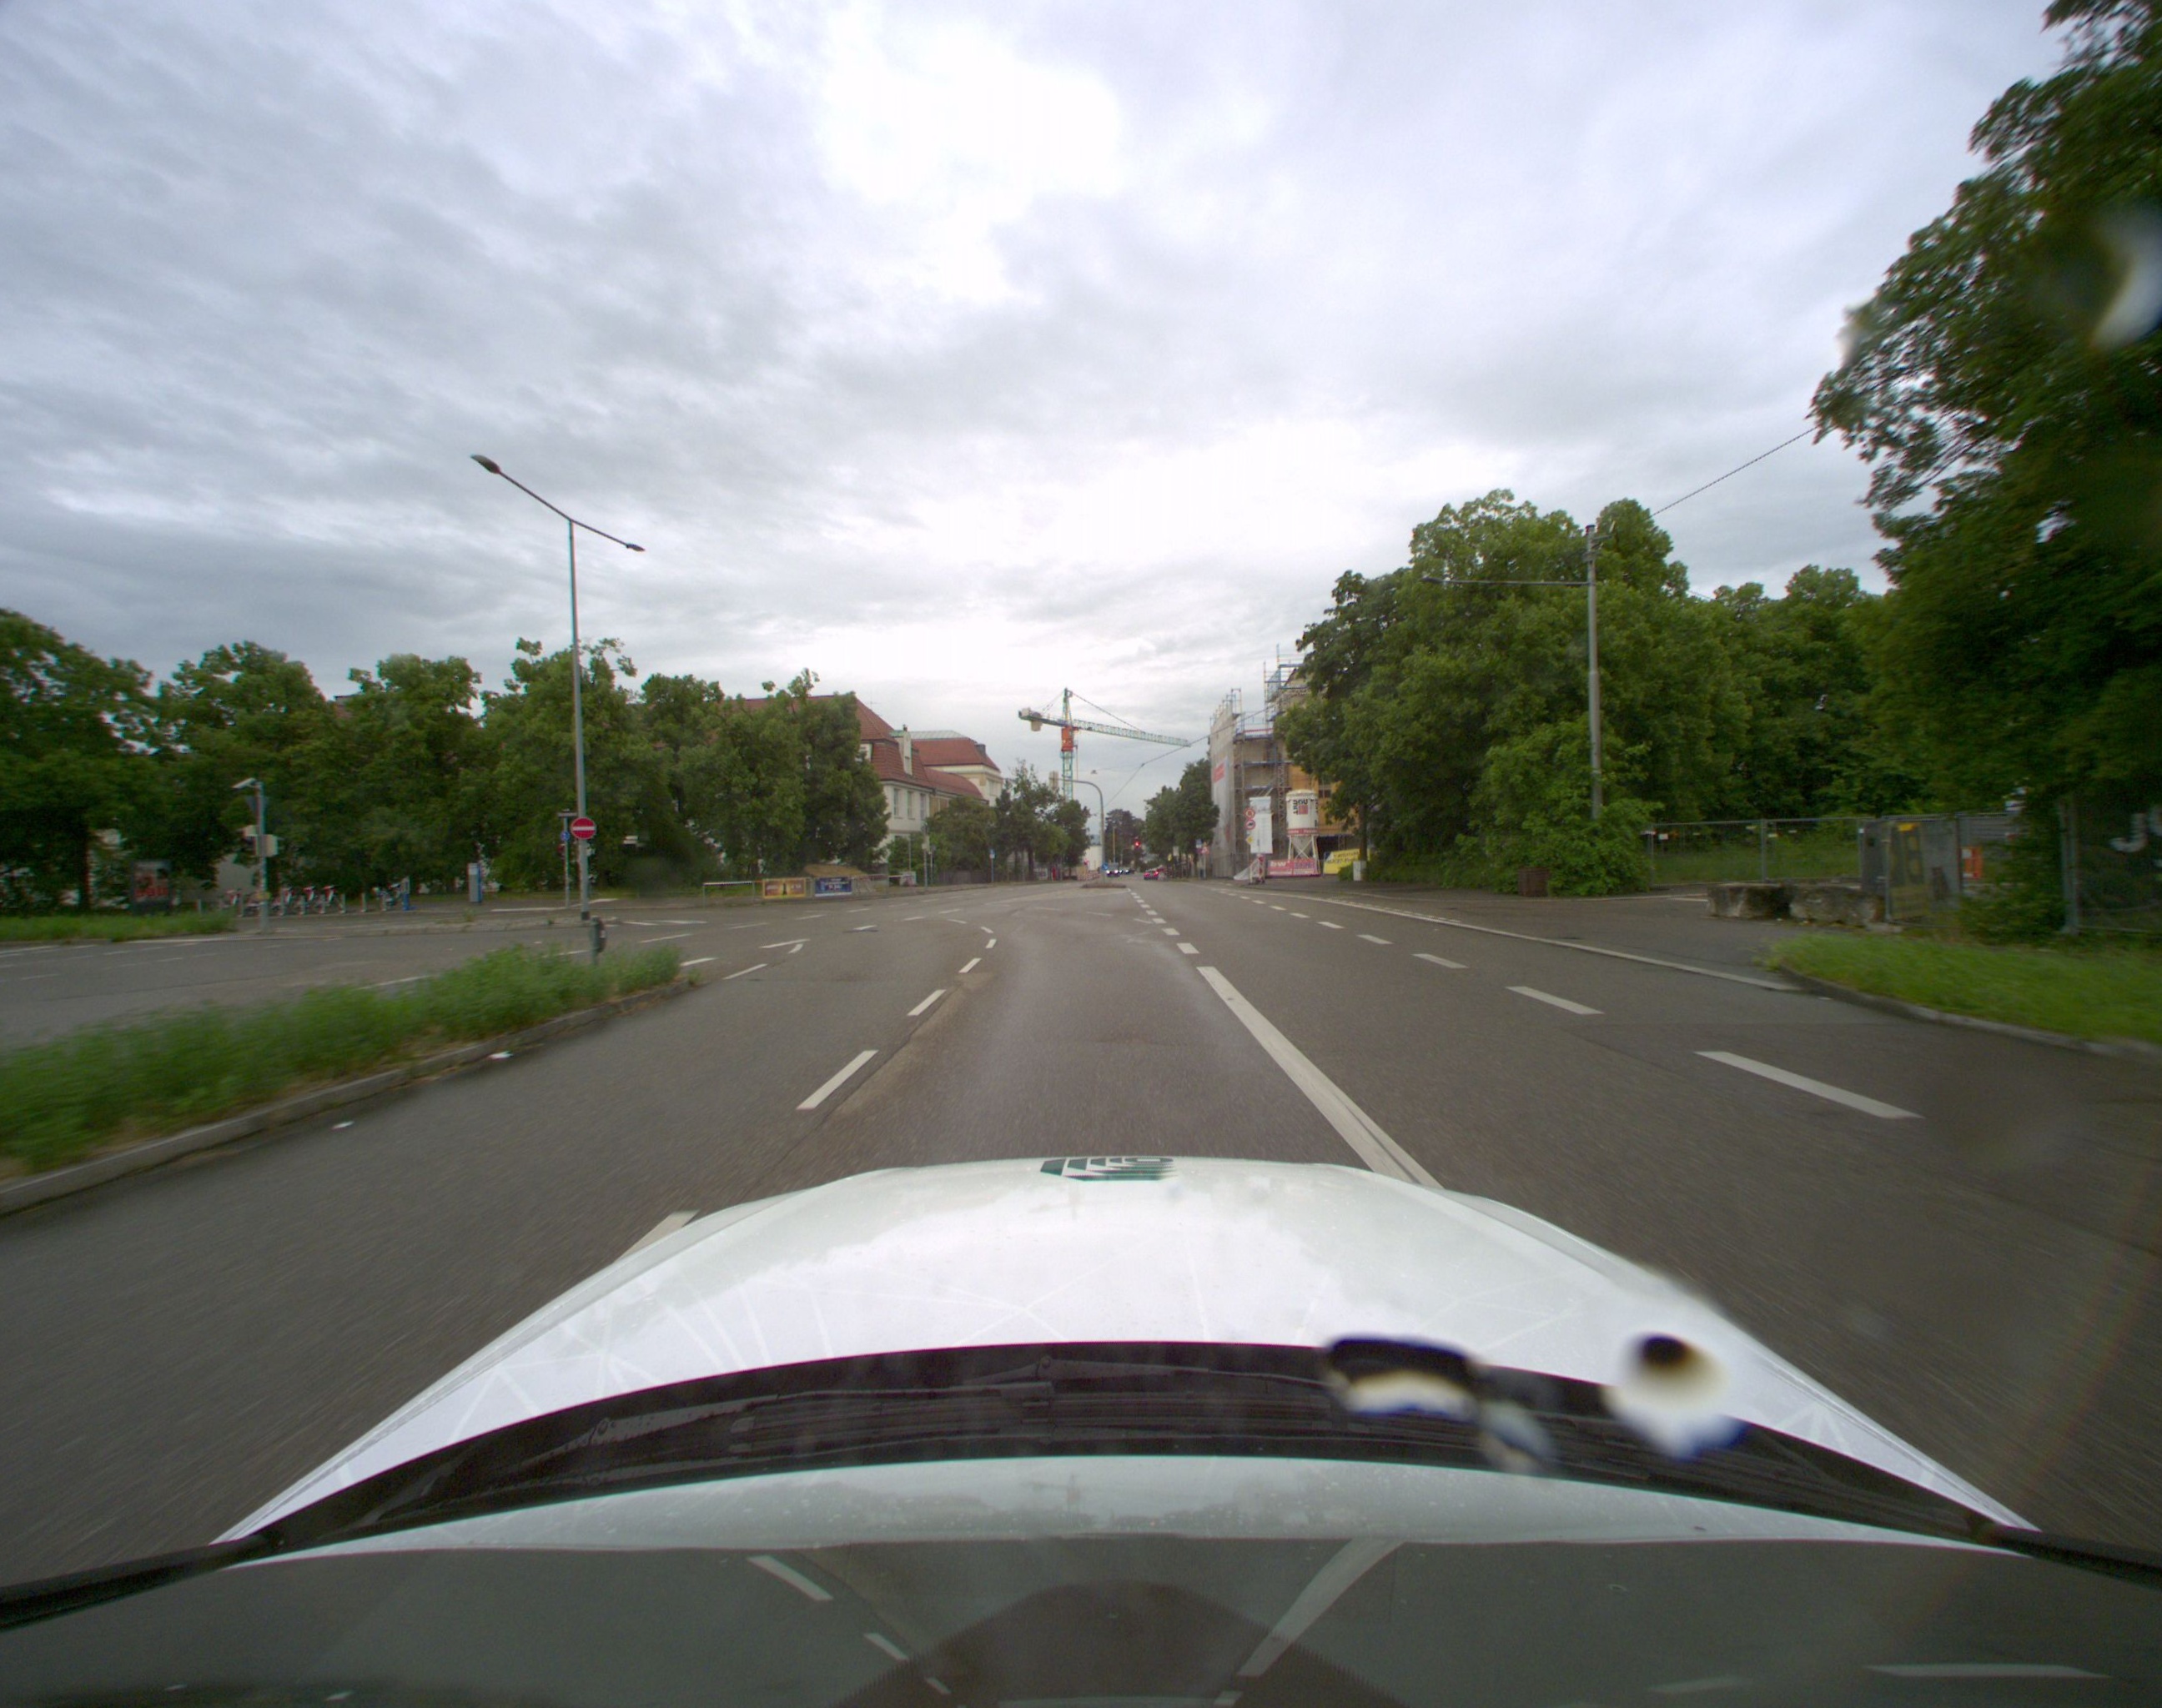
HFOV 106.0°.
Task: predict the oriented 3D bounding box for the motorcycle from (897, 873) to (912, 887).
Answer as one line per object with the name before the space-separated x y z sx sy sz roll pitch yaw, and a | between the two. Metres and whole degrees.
motorcycle | -12.108 1.786 55.825 0.846 0.877 0.877 -1 0 1

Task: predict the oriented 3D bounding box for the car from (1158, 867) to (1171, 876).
car | 16.529 3.470 161.337 1.979 1.750 4.016 -2 0 15

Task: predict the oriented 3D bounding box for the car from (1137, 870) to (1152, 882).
car | 9.574 3.310 123.819 1.986 1.750 4.001 -2 0 1

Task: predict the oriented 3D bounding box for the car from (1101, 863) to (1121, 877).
car | 5.655 2.936 150.772 2.830 2.403 6.206 -1 0 11

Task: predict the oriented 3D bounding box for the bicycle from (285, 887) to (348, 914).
bicycle | -32.679 1.981 34.866 0.798 1.071 1.982 -1 0 2

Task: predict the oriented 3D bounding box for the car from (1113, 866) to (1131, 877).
car | 8.255 3.500 163.504 1.975 1.882 4.024 -2 0 26

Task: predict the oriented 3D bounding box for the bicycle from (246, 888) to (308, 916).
bicycle | -34.318 2.031 34.804 0.649 1.071 1.982 -1 0 2

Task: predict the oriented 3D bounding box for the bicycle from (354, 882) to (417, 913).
bicycle | -29.846 1.843 34.983 0.987 1.249 1.982 -1 0 1

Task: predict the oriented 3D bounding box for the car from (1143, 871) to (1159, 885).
car | 9.939 3.424 115.604 1.986 1.750 4.001 -2 0 1

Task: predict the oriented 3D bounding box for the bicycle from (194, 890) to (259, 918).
bicycle | -36.374 2.098 34.713 0.649 1.071 1.982 -1 0 2

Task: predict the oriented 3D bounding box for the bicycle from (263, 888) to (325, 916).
bicycle | -33.428 2.035 34.632 0.649 1.071 1.982 -1 0 2

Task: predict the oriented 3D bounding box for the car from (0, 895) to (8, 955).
car | -30.500 1.863 20.251 5.006 1.548 2.000 -1 0 1

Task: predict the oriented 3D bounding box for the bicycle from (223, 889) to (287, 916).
bicycle | -35.397 2.060 34.931 0.649 1.071 1.982 -1 0 2

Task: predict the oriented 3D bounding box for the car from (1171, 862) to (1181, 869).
car | 24.437 2.921 209.503 1.980 1.750 4.014 -2 0 13
